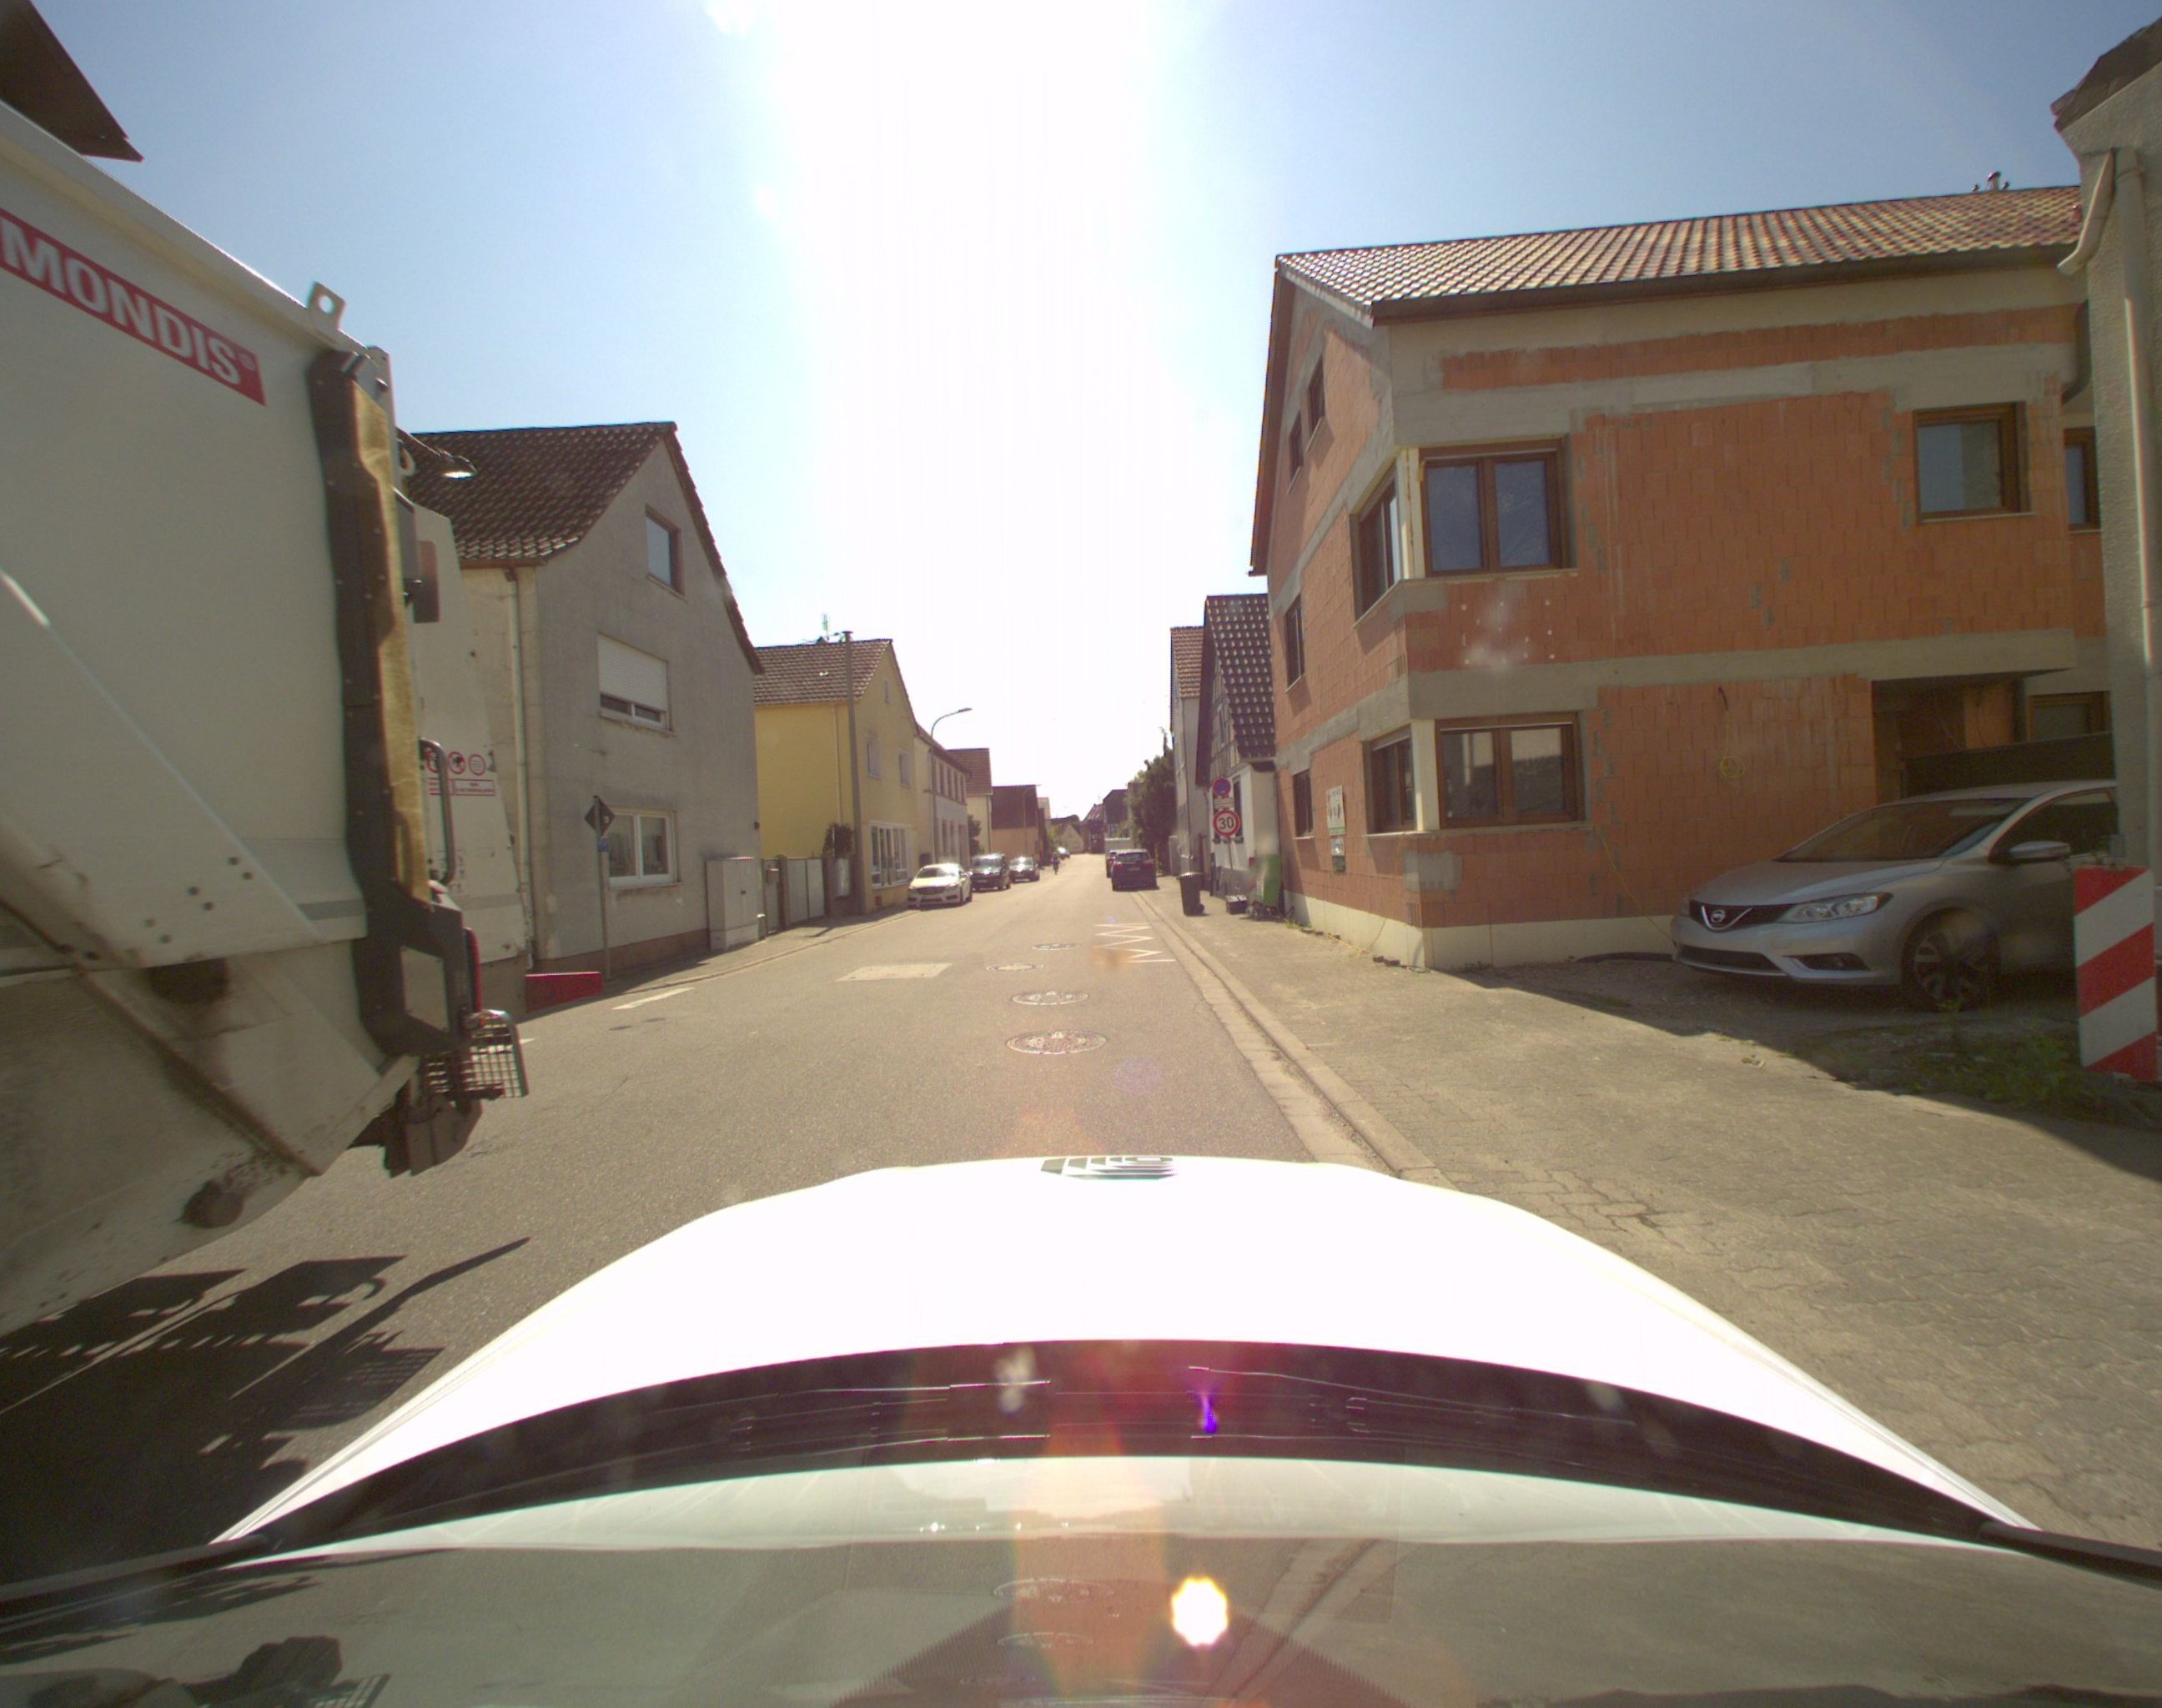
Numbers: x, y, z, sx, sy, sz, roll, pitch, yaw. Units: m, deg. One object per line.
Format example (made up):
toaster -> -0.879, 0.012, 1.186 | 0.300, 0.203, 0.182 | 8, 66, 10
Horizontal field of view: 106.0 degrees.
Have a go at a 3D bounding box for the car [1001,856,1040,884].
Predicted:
car -> -3.792, 0.957, 51.632 | 1.837, 1.526, 4.768 | -4, 0, 3

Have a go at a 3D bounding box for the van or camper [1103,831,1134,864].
van or camper -> 3.362, -0.613, 74.472 | 2.513, 2.696, 4.556 | -4, 0, 1

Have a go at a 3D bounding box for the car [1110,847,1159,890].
car -> 2.178, 0.541, 33.985 | 1.790, 1.560, 4.634 | -4, 0, 2

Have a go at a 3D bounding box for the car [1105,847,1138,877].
car -> 2.548, 0.469, 50.281 | 1.785, 1.631, 4.367 | -4, 0, 5

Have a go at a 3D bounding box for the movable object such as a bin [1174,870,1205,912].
movable object such as a bin -> 2.509, 0.852, 18.800 | 0.533, 0.913, 0.554 | -4, 0, 19

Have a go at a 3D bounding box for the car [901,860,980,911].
car -> -4.818, 1.046, 28.462 | 1.828, 1.464, 4.272 | -4, 0, 1

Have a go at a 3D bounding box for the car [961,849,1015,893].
car -> -4.465, 0.781, 39.674 | 1.827, 1.837, 4.356 | -5, 0, 2

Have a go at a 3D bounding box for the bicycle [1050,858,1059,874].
bicycle -> -2.094, 0.936, 65.334 | 0.587, 1.148, 1.947 | -5, 0, -1

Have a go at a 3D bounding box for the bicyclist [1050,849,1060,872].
bicyclist -> -2.107, 0.519, 65.337 | 0.702, 1.770, 0.624 | -4, 0, -2

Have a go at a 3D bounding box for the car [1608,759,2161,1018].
car -> 6.833, 0.156, 6.462 | 4.080, 1.507, 1.868 | -5, 0, -4
